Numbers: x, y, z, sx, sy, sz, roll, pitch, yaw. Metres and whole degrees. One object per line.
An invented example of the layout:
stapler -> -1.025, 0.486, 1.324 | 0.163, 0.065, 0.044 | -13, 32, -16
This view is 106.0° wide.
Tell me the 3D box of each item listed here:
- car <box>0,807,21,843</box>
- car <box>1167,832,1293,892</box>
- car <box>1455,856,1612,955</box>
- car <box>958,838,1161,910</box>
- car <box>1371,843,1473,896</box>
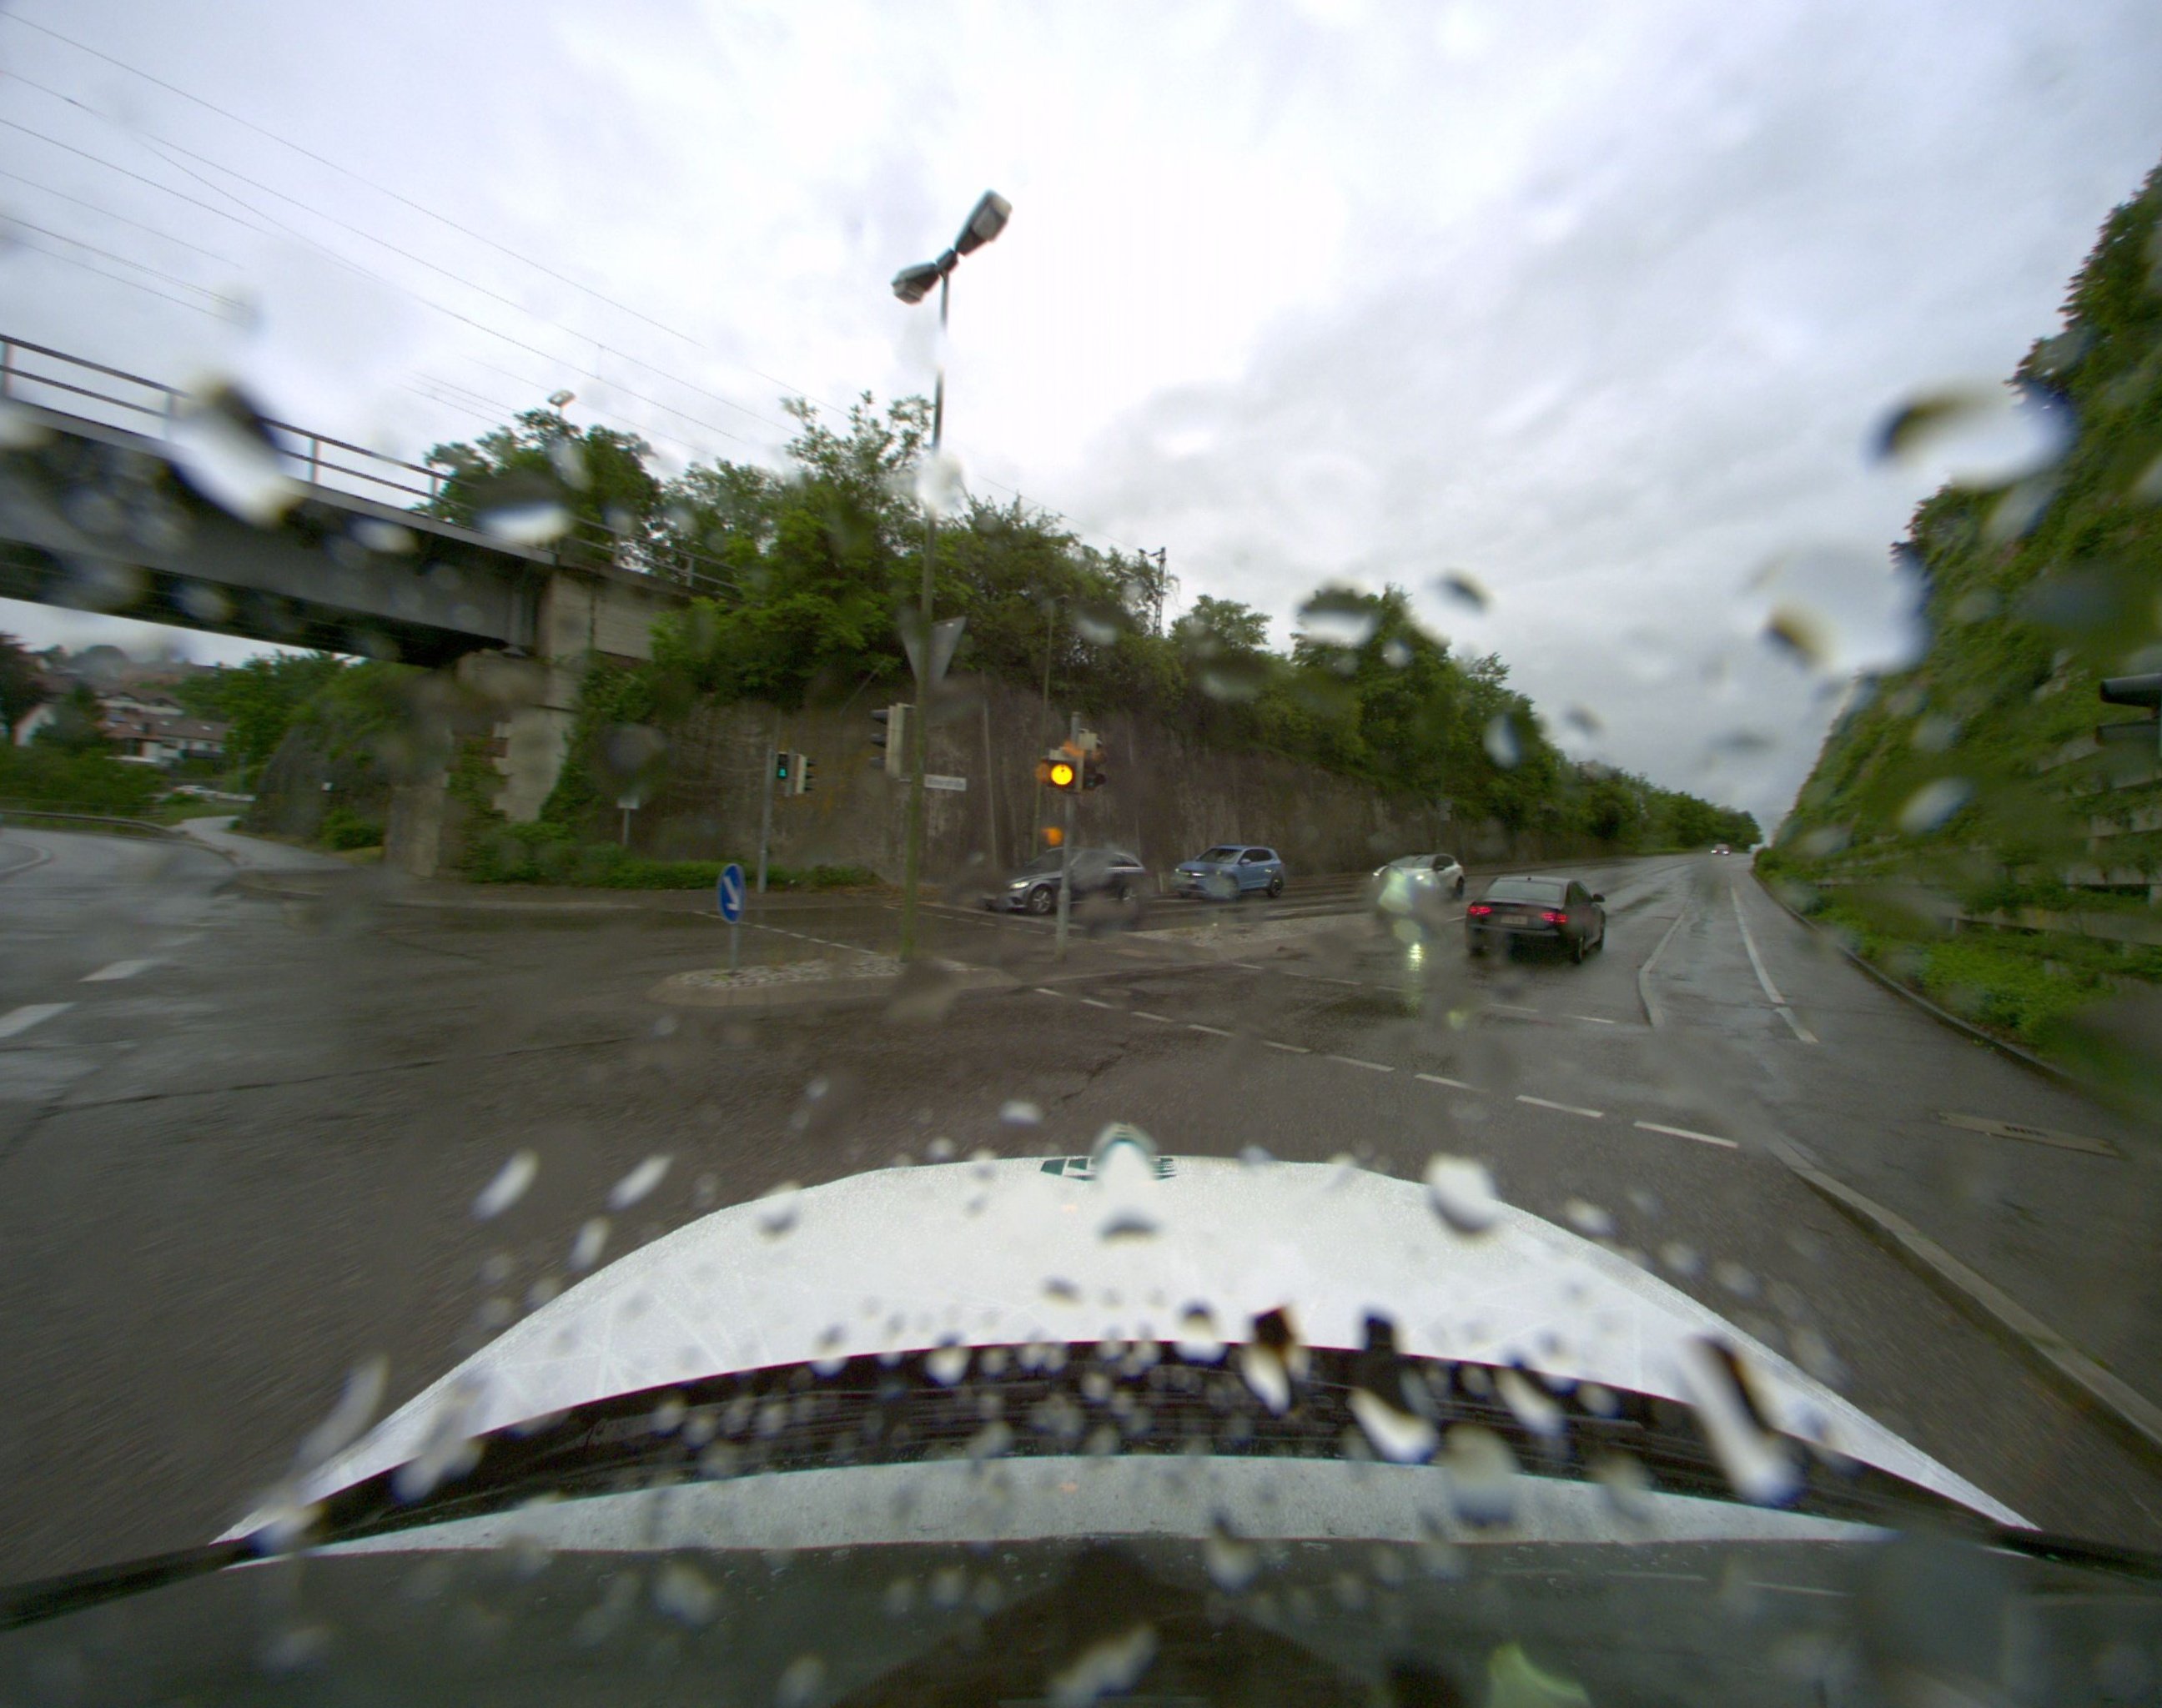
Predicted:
car -> -49.165, -1.279, 35.612 | 3.958, 1.562, 2.008 | 0, 0, 14
car -> 4.570, 0.212, 24.661 | 1.798, 1.657, 4.074 | 1, 0, 44
car -> 8.247, 0.790, 14.662 | 1.874, 1.492, 4.234 | 1, 0, 37
car -> -0.394, 0.401, 19.367 | 4.756, 1.503, 1.976 | 0, 0, -44
car -> 11.126, 0.459, 26.440 | 1.851, 1.601, 4.024 | 1, 0, 42
